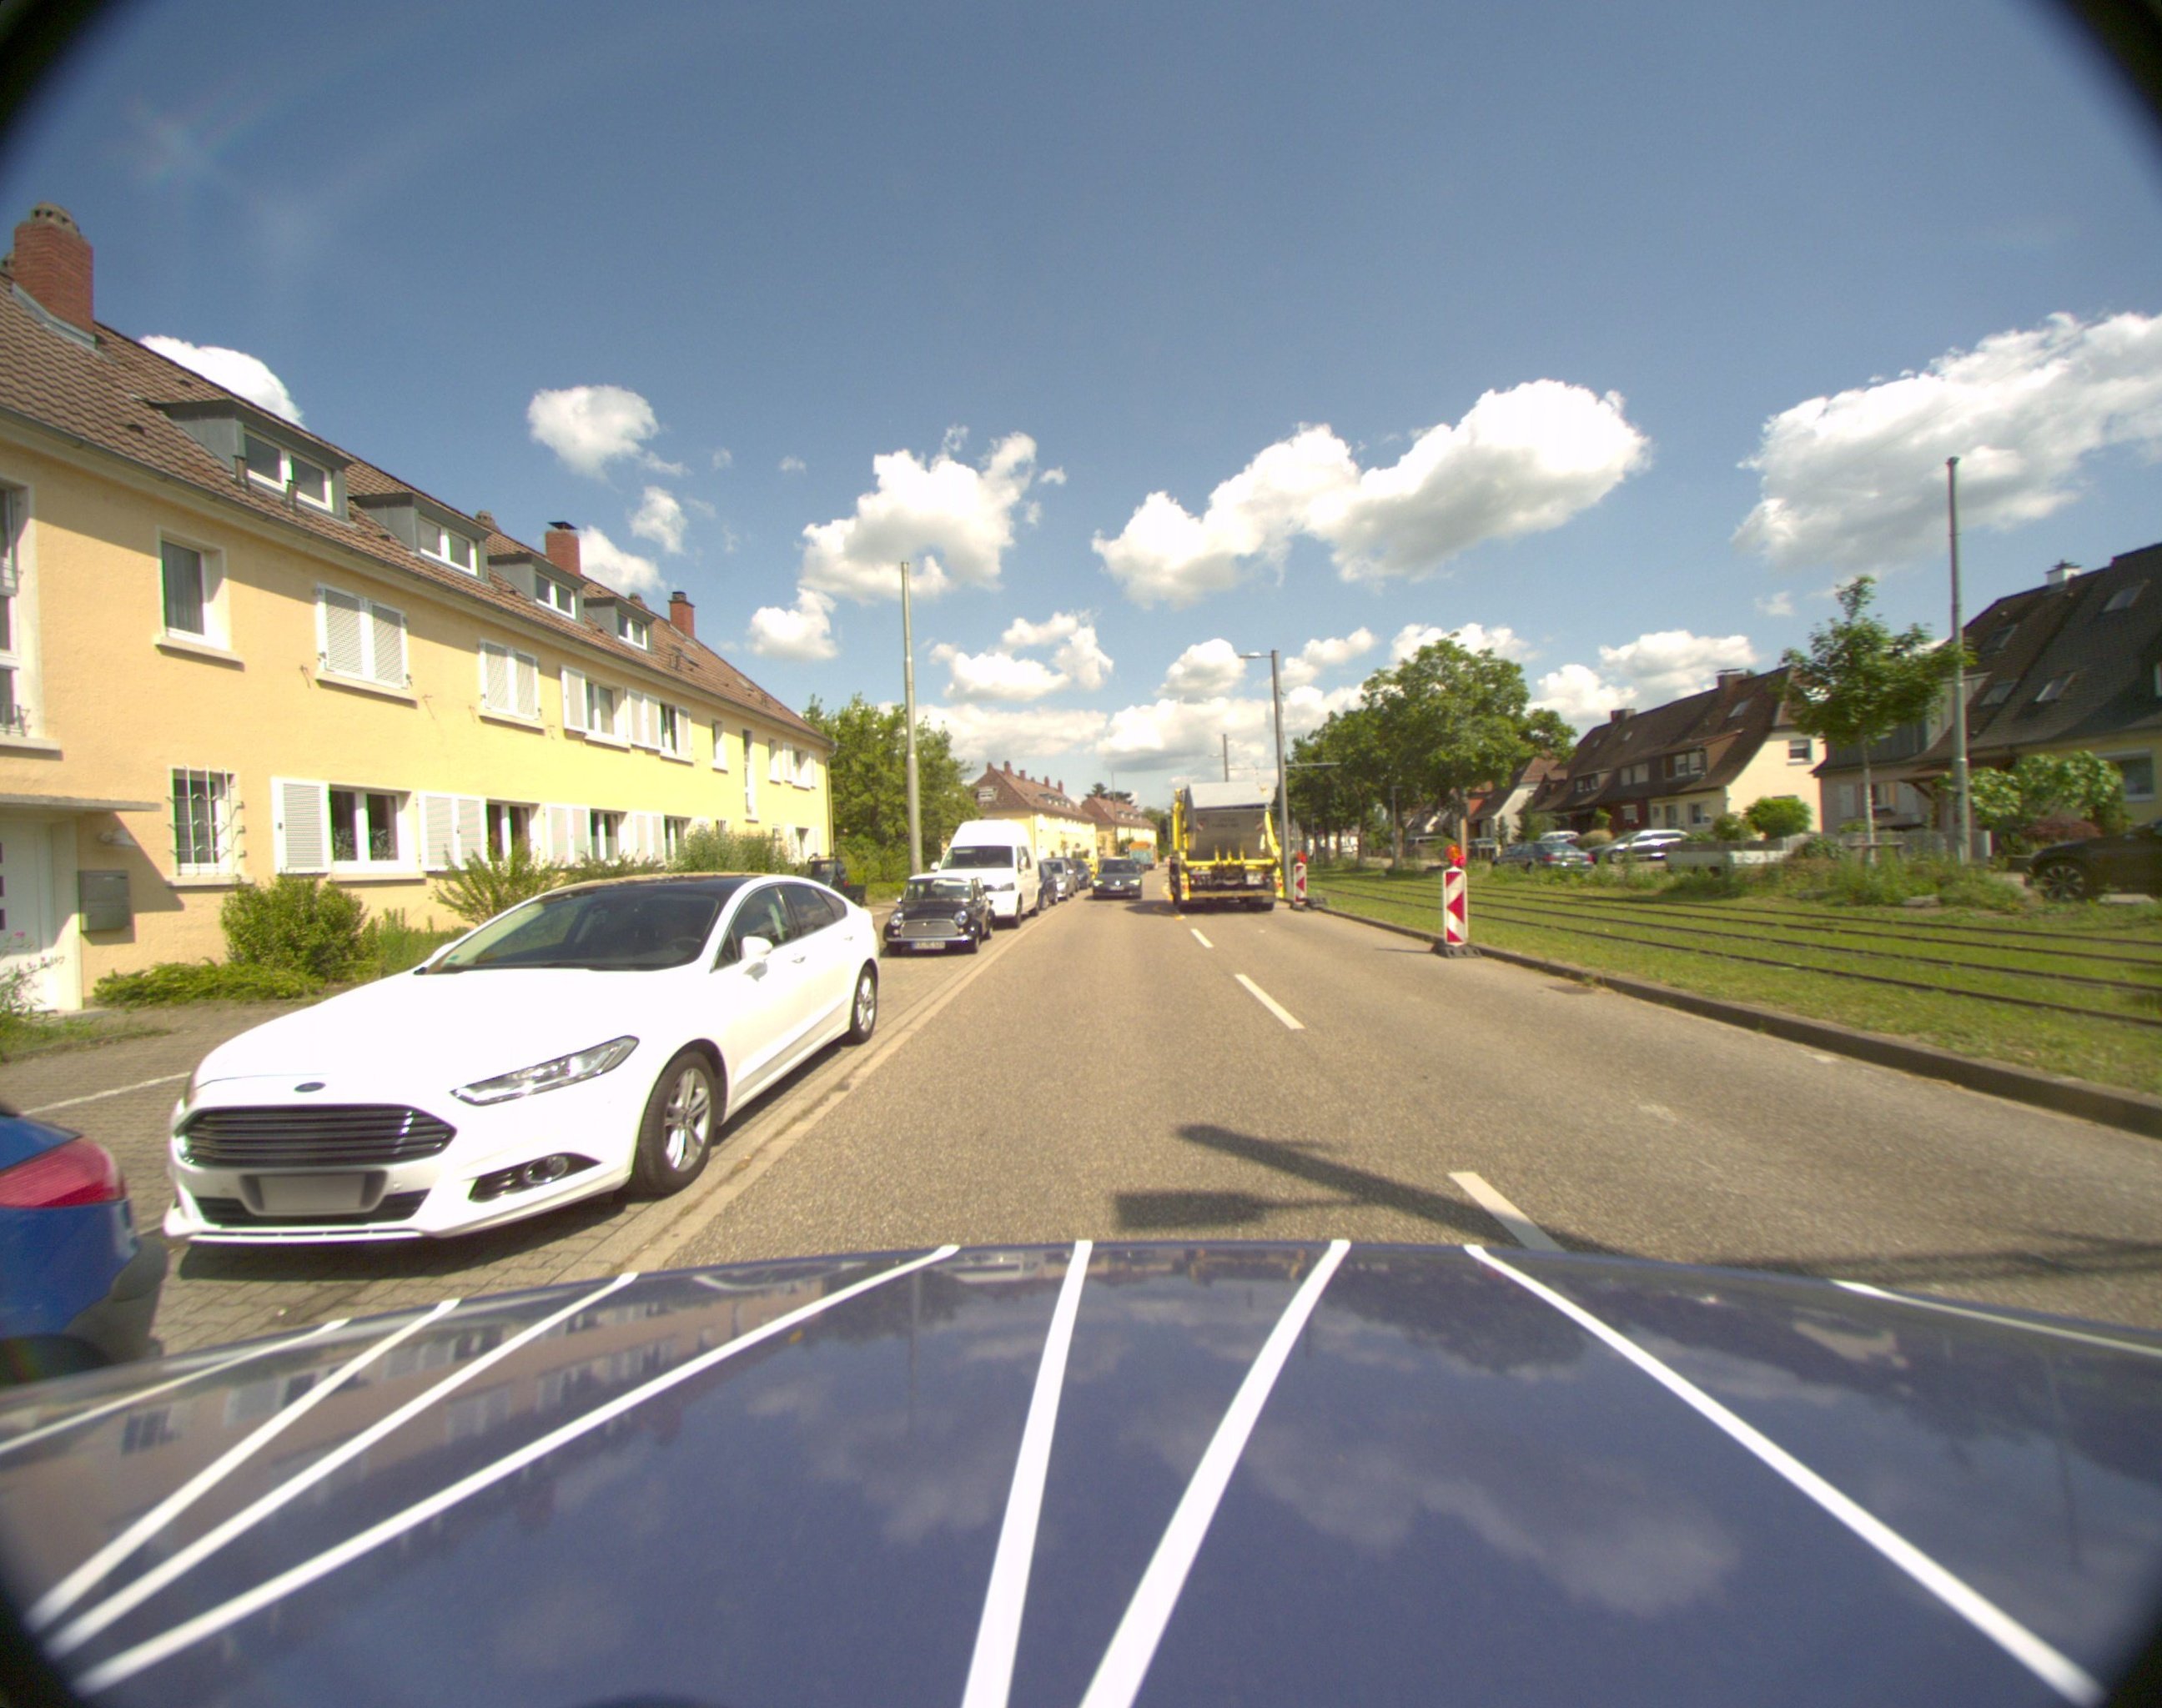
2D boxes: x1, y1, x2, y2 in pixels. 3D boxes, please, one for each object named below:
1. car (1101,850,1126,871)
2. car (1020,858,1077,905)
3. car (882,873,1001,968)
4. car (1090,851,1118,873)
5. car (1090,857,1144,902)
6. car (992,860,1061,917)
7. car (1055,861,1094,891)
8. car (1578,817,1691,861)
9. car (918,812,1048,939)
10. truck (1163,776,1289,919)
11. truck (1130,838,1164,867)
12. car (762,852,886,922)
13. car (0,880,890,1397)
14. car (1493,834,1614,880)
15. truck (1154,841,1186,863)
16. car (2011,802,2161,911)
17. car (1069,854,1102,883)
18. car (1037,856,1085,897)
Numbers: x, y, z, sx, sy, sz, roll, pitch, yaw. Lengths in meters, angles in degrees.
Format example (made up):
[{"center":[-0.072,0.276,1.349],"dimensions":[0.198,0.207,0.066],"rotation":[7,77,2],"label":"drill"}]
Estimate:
[{"center":[2.580,0.485,59.759],"dimensions":[1.513,1.490,3.576],"rotation":[-2,1,9],"label":"car"},{"center":[-1.099,0.927,27.222],"dimensions":[1.513,1.490,3.408],"rotation":[-2,1,6],"label":"car"},{"center":[-2.330,1.062,13.429],"dimensions":[1.358,1.299,3.543],"rotation":[-2,1,1],"label":"car"},{"center":[1.700,0.568,55.445],"dimensions":[1.513,1.490,3.576],"rotation":[-2,1,9],"label":"car"},{"center":[1.330,0.902,28.529],"dimensions":[1.786,1.412,4.290],"rotation":[-4,1,2],"label":"car"},{"center":[-1.599,0.992,23.225],"dimensions":[1.513,1.490,3.544],"rotation":[-2,1,5],"label":"car"},{"center":[-0.268,1.012,36.362],"dimensions":[1.513,1.241,3.408],"rotation":[-2,1,6],"label":"car"},{"center":[27.317,-0.734,37.616],"dimensions":[3.995,2.002,2.000],"rotation":[-2,1,6],"label":"car"},{"center":[-2.121,0.441,18.146],"dimensions":[1.924,2.522,5.346],"rotation":[-2,0,4],"label":"car"},{"center":[3.901,-0.154,22.265],"dimensions":[2.702,3.346,8.052],"rotation":[-2,0,5],"label":"truck"},{"center":[7.304,-0.266,83.013],"dimensions":[2.530,2.931,7.867],"rotation":[-2,1,14],"label":"truck"},{"center":[-7.184,0.864,21.751],"dimensions":[1.926,1.736,4.048],"rotation":[-2,0,3],"label":"car"},{"center":[-2.709,1.013,4.799],"dimensions":[1.756,1.480,4.627],"rotation":[-2,0,0],"label":"car"},{"center":[17.682,0.092,28.717],"dimensions":[1.998,1.531,4.322],"rotation":[-2,1,3],"label":"car"},{"center":[12.198,-0.322,103.153],"dimensions":[2.529,2.717,7.871],"rotation":[-2,1,20],"label":"truck"},{"center":[16.097,0.000,10.184],"dimensions":[1.998,1.531,4.322],"rotation":[-2,1,1],"label":"car"},{"center":[0.307,0.764,42.665],"dimensions":[1.513,1.490,3.408],"rotation":[-2,1,6],"label":"car"},{"center":[-0.756,0.852,30.783],"dimensions":[1.513,1.490,3.408],"rotation":[-2,1,6],"label":"car"}]
